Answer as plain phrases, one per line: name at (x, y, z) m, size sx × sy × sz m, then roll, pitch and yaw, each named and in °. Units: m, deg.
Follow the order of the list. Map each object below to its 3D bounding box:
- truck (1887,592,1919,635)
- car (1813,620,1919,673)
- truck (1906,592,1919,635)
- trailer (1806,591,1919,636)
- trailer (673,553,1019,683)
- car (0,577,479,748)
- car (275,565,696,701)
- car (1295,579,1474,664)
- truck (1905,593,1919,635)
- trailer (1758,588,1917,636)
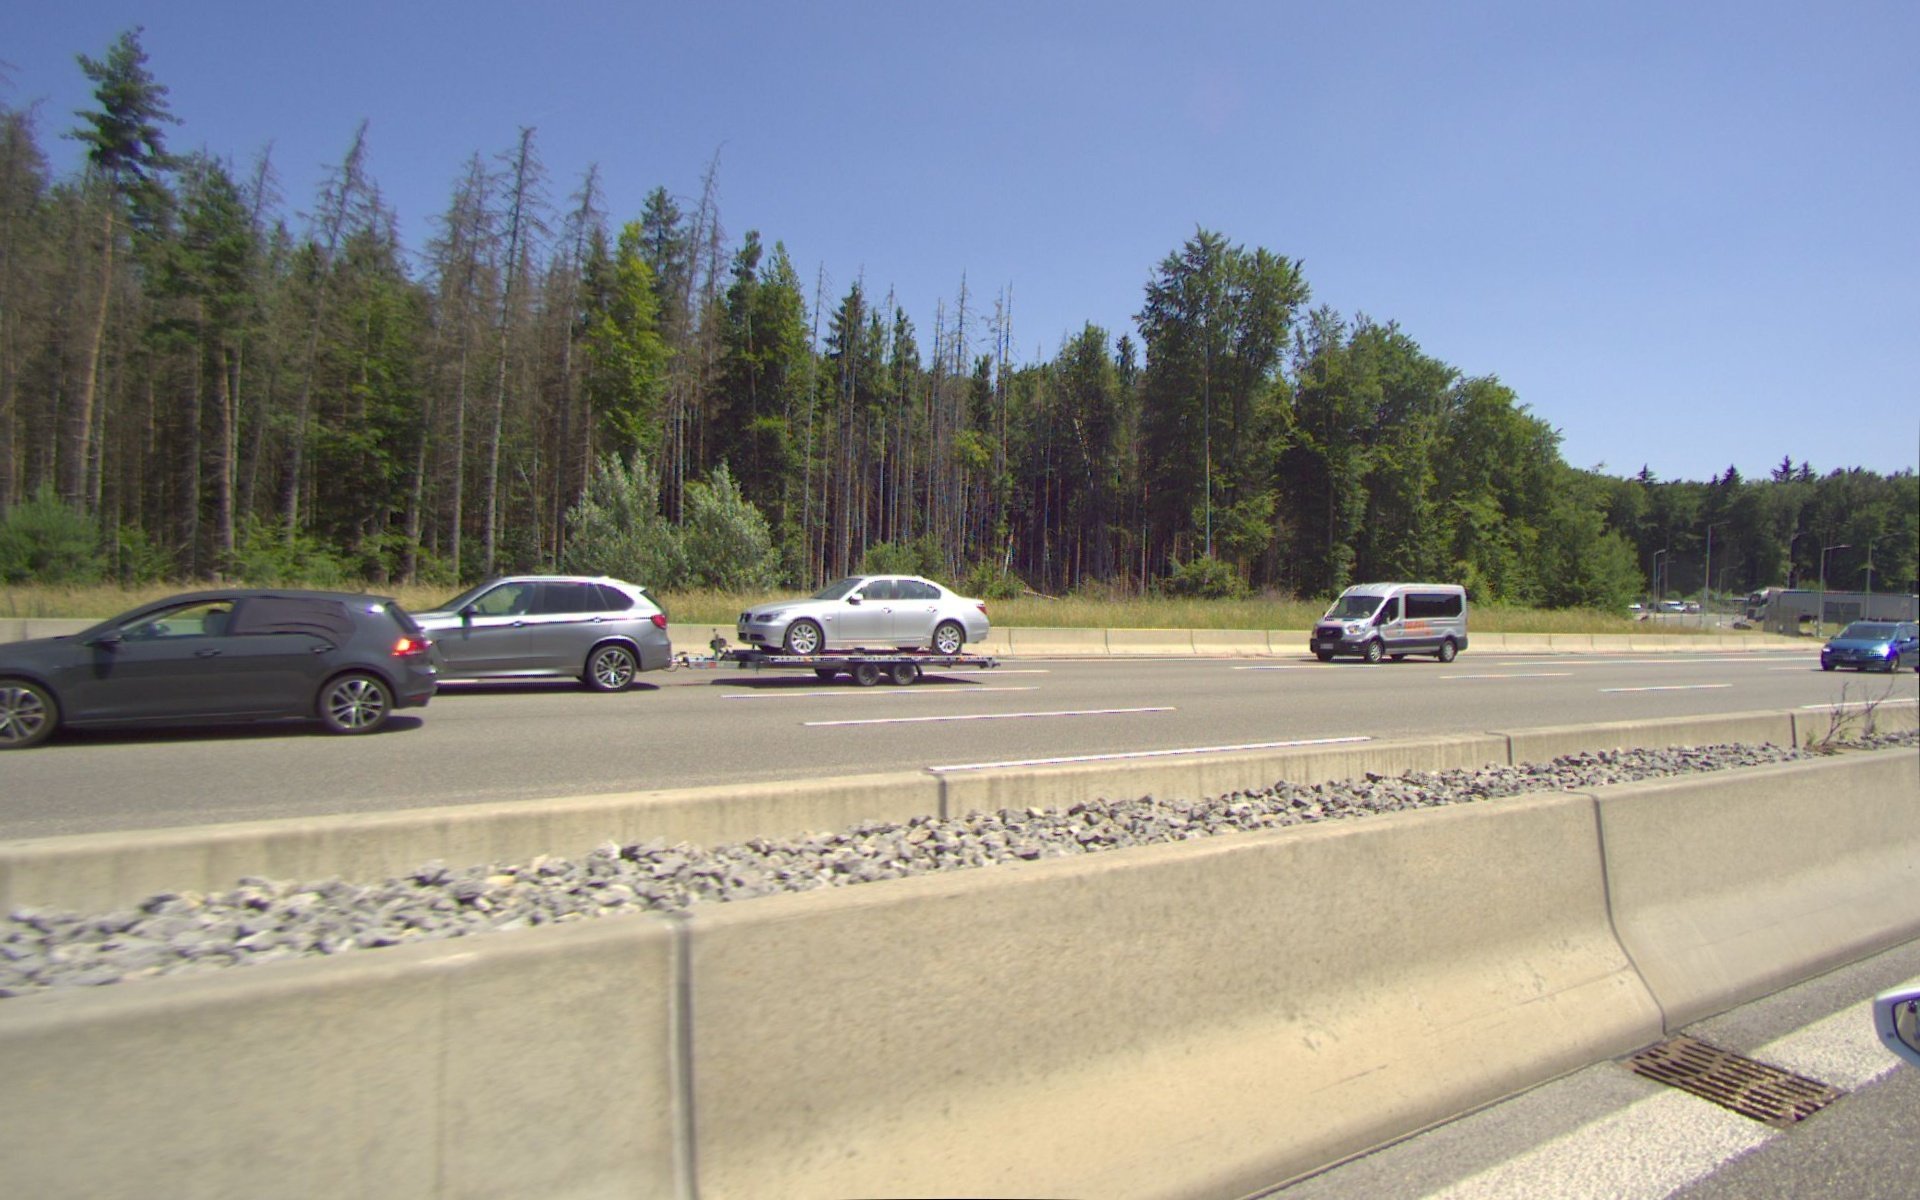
truck at (132.642, 1.969, 135.137) m, size 11.304 × 5.688 × 3.230 m, roll 2°, pitch 1°, yaw 14°
car at (30.101, 1.501, 33.030) m, size 4.619 × 1.591 × 1.721 m, roll 1°, pitch 0°, yaw -31°
truck at (130.575, 1.911, 132.108) m, size 8.316 × 5.688 × 3.230 m, roll 2°, pitch 1°, yaw 14°
trailer at (114.885, 1.690, 125.202) m, size 14.272 × 5.140 × 3.225 m, roll 2°, pitch 1°, yaw 14°
trailer at (-1.966, 0.353, 18.420) m, size 6.081 × 2.078 × 1.845 m, roll 1°, pitch 0°, yaw -31°
car at (-7.482, 0.569, 10.228) m, size 4.523 × 1.483 × 1.721 m, roll 1°, pitch 0°, yaw -31°
car at (-7.038, 0.493, 15.368) m, size 5.518 × 1.782 × 1.804 m, roll 1°, pitch 0°, yaw -31°
car at (13.430, 0.691, 31.564) m, size 6.276 × 2.445 × 1.937 m, roll 1°, pitch 0°, yaw -32°
truck at (137.483, 2.122, 137.641) m, size 11.304 × 5.688 × 3.230 m, roll 2°, pitch 1°, yaw 14°
trailer at (104.869, 1.373, 120.317) m, size 14.272 × 5.140 × 3.131 m, roll 2°, pitch 1°, yaw 14°
